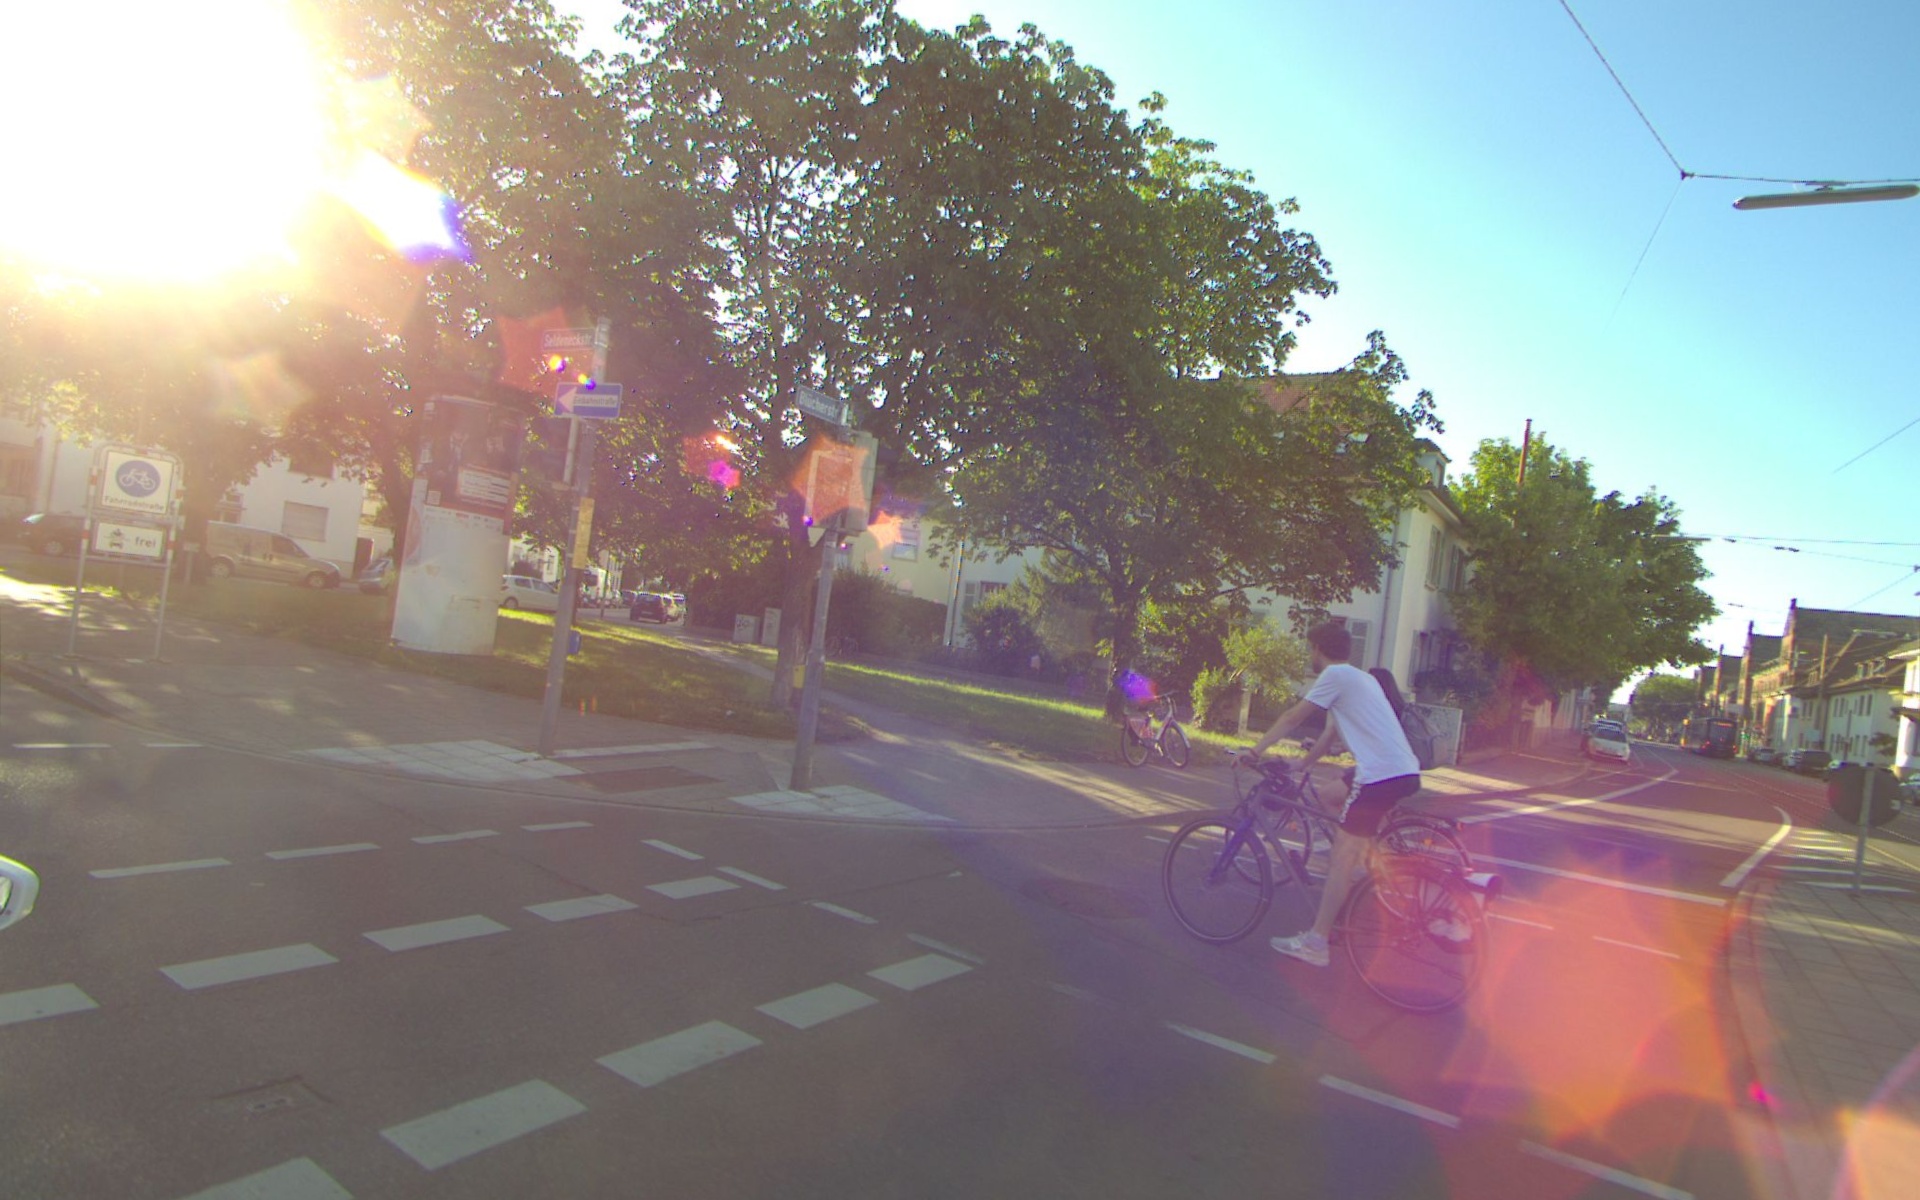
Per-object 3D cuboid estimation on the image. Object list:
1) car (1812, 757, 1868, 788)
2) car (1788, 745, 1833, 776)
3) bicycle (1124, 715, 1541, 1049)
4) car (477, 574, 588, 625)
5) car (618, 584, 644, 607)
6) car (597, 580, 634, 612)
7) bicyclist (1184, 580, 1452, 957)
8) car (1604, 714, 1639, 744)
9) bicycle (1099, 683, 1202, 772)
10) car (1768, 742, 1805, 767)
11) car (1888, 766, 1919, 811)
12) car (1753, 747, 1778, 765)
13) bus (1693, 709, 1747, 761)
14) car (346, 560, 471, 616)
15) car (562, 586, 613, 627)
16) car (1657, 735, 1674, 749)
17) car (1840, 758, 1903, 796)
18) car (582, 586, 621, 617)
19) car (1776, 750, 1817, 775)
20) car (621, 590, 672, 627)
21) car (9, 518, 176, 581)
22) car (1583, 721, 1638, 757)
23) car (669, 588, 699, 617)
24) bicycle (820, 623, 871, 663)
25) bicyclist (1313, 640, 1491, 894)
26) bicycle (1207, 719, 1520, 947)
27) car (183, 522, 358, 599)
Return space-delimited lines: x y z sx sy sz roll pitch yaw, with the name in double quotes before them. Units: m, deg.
"car" 53.950 10.578 61.727 1.969 1.479 3.996 6 -5 35
"car" 62.433 11.768 73.889 1.969 1.792 3.992 6 -2 35
"bicycle" 1.869 1.358 5.309 0.571 1.196 1.882 11 -4 -43
"car" -17.400 0.012 41.102 1.499 1.540 3.931 6 -4 32
"car" -29.291 -0.394 89.624 1.733 1.640 3.836 9 -3 -14
"car" -26.671 -0.271 78.016 1.968 2.035 3.995 9 -3 -12
"bicyclist" 1.905 0.843 5.354 0.813 1.751 0.883 11 -3 -43
"car" 52.894 10.345 80.463 1.967 2.035 3.998 7 -4 32
"bicycle" 2.655 1.782 13.939 0.461 1.103 1.519 13 2 44
"car" 71.539 13.367 87.134 1.969 1.746 3.995 6 -4 35
"car" 43.642 8.618 45.338 1.969 1.790 3.992 6 -2 35
"car" 76.040 14.747 95.034 1.458 1.464 3.436 6 -4 35
"bus" 68.138 12.280 90.435 2.821 3.866 13.309 6 -4 35
"car" -20.094 -0.420 36.764 1.579 1.533 3.560 7 -2 31
"car" -24.986 0.485 67.707 2.078 2.362 4.517 9 -3 -9
"car" 105.353 21.230 150.303 1.592 1.642 3.714 7 0 30
"car" 50.650 9.800 55.980 1.969 1.645 3.993 6 -3 35
"car" -25.946 0.135 72.871 1.886 1.896 3.933 9 -3 -12
"car" 65.285 12.669 78.533 1.969 1.458 3.992 6 -2 35
"car" -16.216 0.413 52.185 1.968 1.570 3.991 8 -1 -12
"car" -29.834 -1.710 34.713 1.690 1.463 3.991 6 -3 36
"car" 30.684 6.513 47.414 1.969 1.325 3.991 7 -2 35
"car" -21.340 0.217 77.624 1.902 1.875 3.991 9 -4 -16
"bicycle" -4.289 1.577 37.484 1.923 1.252 0.450 6 -2 35
"bicyclist" 3.151 1.155 7.158 0.880 1.579 0.713 7 -3 35
"bicycle" 2.866 1.604 7.257 1.932 1.196 0.492 6 -3 33
"car" -22.808 -1.278 33.425 1.999 1.896 4.244 6 -2 36
